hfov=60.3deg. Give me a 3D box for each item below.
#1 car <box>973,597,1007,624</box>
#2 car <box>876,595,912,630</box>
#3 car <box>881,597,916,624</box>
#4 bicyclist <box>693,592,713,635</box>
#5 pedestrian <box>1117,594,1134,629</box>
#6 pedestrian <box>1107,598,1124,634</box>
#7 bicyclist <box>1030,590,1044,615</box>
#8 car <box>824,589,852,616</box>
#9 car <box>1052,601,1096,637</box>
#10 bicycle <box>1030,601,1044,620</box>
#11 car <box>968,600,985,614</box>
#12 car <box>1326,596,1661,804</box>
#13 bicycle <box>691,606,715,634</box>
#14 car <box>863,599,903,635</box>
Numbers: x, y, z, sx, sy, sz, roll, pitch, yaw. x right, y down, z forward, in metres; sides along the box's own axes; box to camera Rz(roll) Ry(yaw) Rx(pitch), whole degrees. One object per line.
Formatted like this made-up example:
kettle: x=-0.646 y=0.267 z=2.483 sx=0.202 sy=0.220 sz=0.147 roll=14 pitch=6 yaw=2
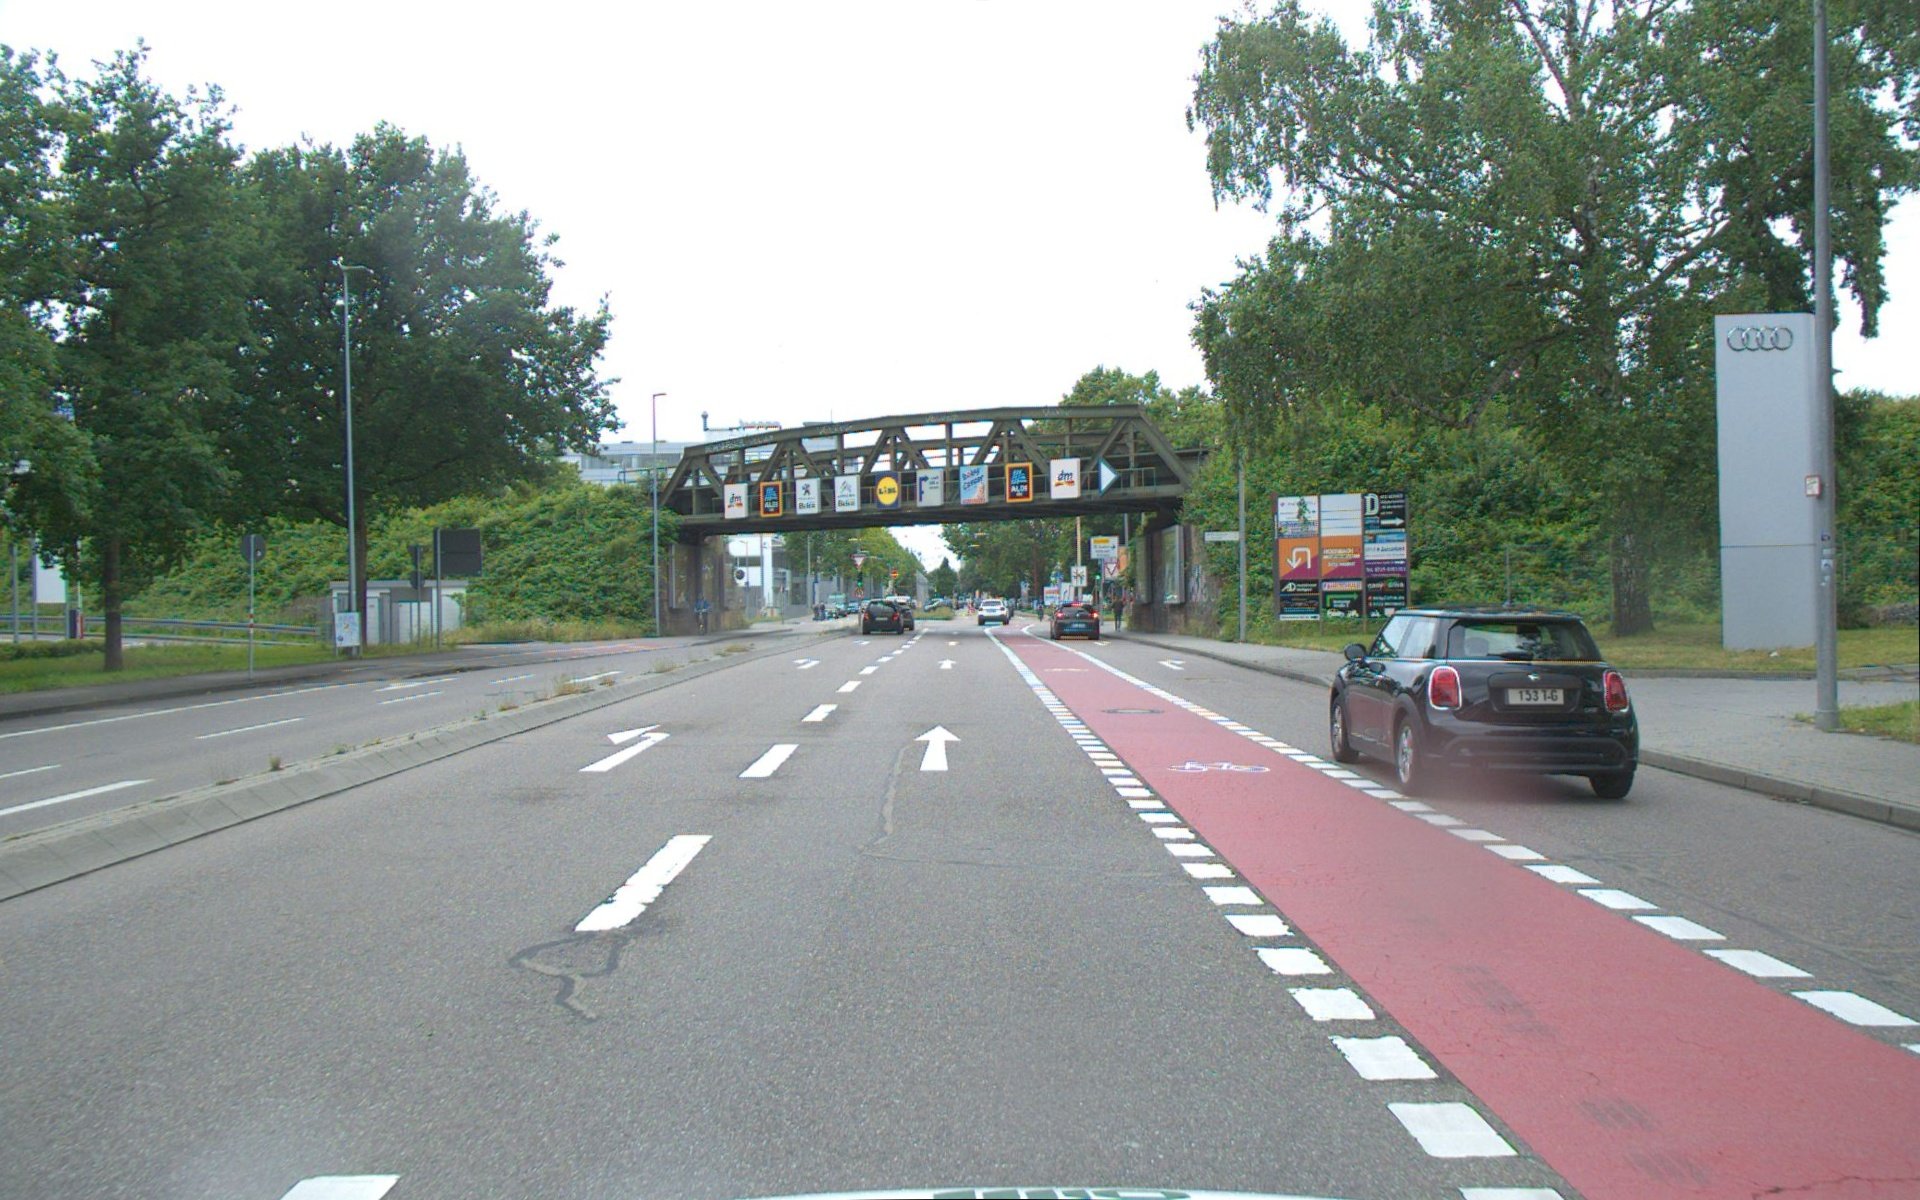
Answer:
car: x=1.826 y=0.609 z=101.348 sx=1.787 sy=1.628 sz=3.773 roll=0 pitch=0 yaw=-3
car: x=-3.337 y=0.608 z=83.551 sx=1.737 sy=1.681 sz=3.667 roll=0 pitch=0 yaw=-3
car: x=-3.597 y=0.591 z=95.932 sx=1.923 sy=1.554 sz=5.007 roll=0 pitch=0 yaw=-4
bicyclist: x=-11.379 y=0.608 z=73.221 sx=0.687 sy=1.907 sz=1.020 roll=1 pitch=-1 yaw=0
pedestrian: x=8.716 y=0.593 z=86.848 sx=0.853 sy=1.790 sz=0.788 roll=-1 pitch=0 yaw=6
pedestrian: x=7.304 y=0.757 z=77.565 sx=0.726 sy=1.669 sz=0.779 roll=-1 pitch=0 yaw=6
bicyclist: x=5.258 y=0.154 z=113.028 sx=0.800 sy=1.658 sz=1.235 roll=-2 pitch=0 yaw=-1
car: x=-13.483 y=0.324 z=183.281 sx=2.280 sy=2.875 sz=5.951 roll=-1 pitch=0 yaw=3
car: x=4.316 y=0.692 z=62.969 sx=1.613 sy=1.303 sz=3.421 roll=0 pitch=0 yaw=3
bicycle: x=5.276 y=0.710 z=113.027 sx=0.800 sy=1.234 sz=2.683 roll=-2 pitch=0 yaw=0
car: x=1.861 y=0.739 z=186.990 sx=1.760 sy=1.540 sz=3.703 roll=0 pitch=0 yaw=-3
car: x=4.199 y=0.704 z=13.610 sx=1.644 sy=1.456 sz=3.775 roll=0 pitch=0 yaw=2
bicycle: x=-11.384 y=0.878 z=73.245 sx=0.698 sy=1.207 sz=2.370 roll=1 pitch=-1 yaw=0
car: x=-3.461 y=0.744 z=74.161 sx=1.733 sy=1.554 sz=3.667 roll=0 pitch=0 yaw=-3
